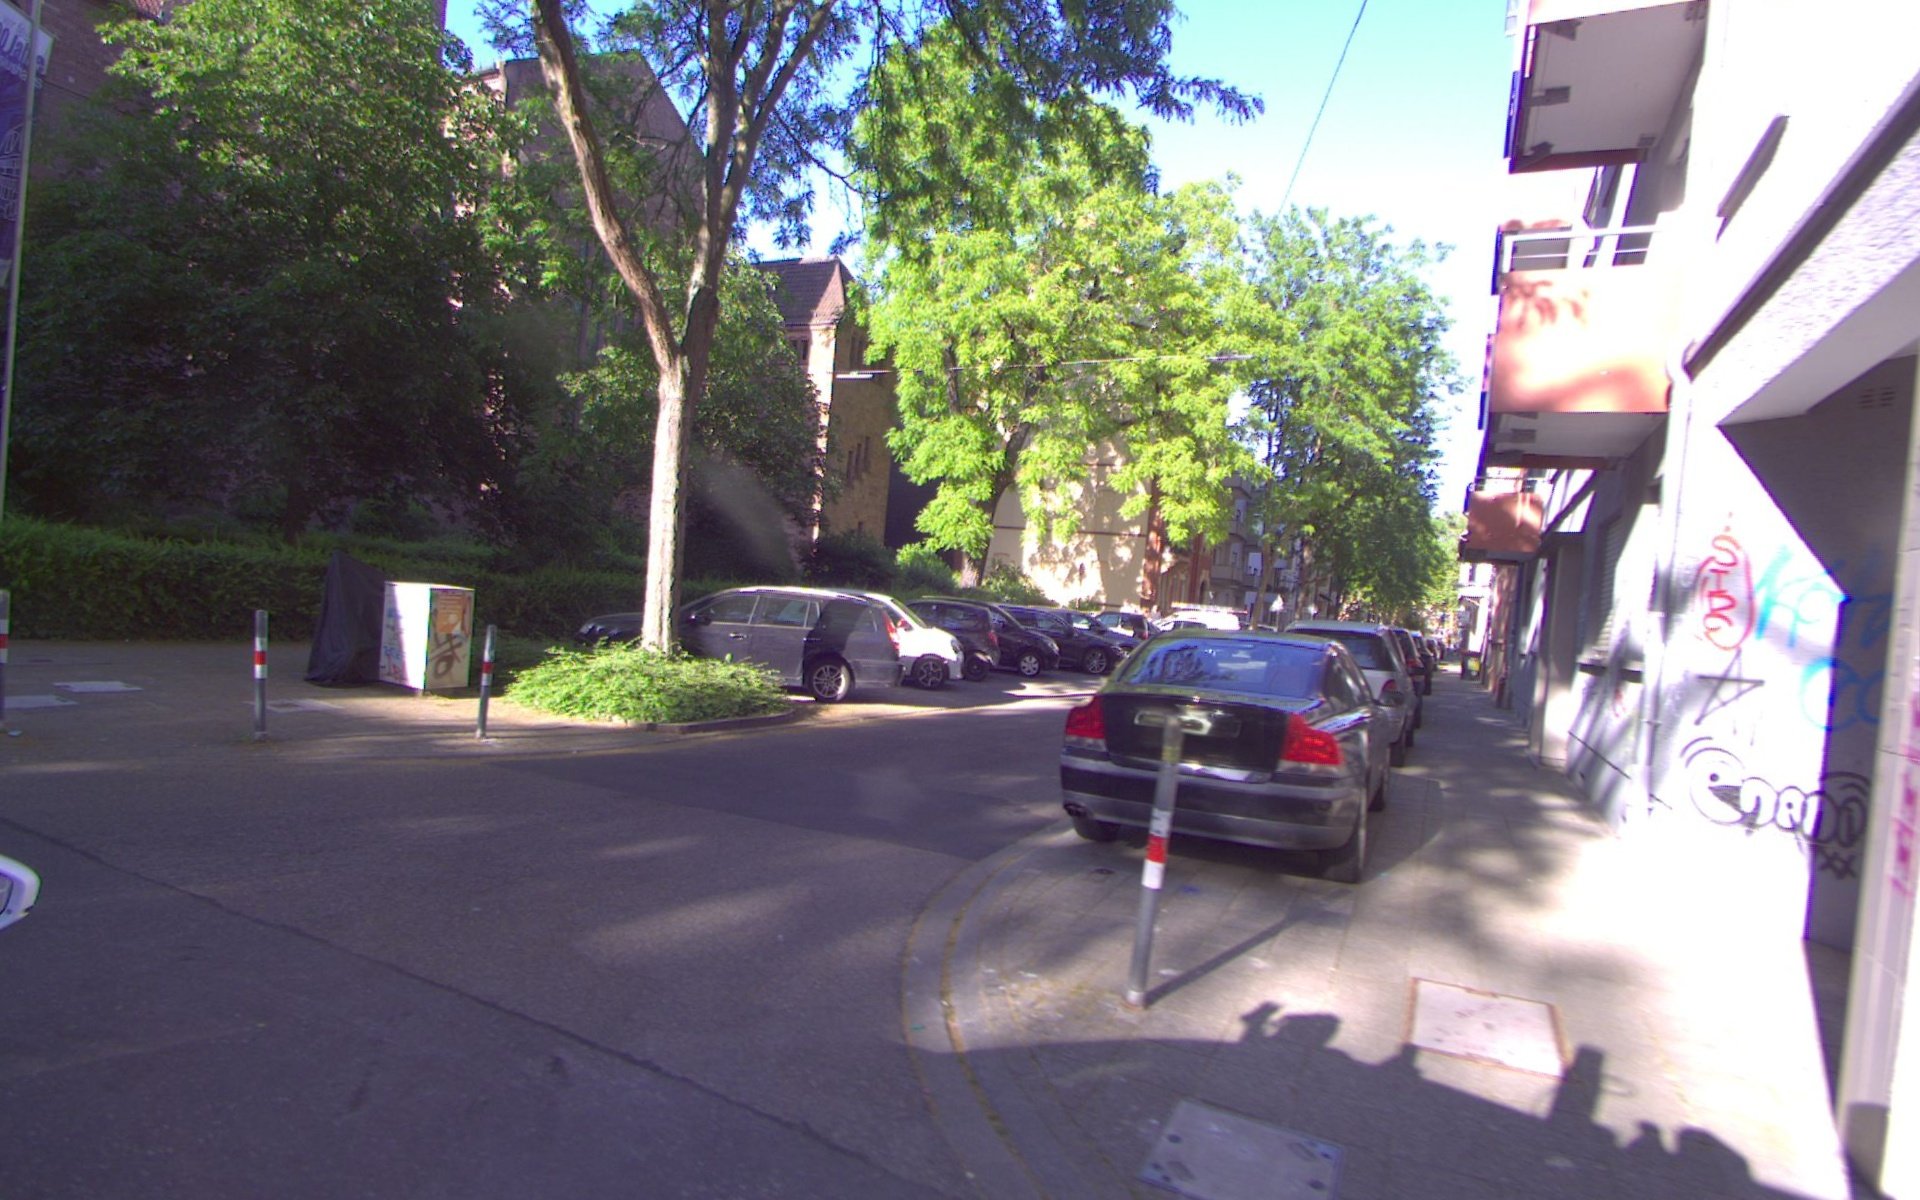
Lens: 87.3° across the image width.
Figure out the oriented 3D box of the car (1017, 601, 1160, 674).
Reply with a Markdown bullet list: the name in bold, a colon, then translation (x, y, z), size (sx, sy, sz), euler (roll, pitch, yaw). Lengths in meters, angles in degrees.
- **car**: translation (3.559, 1.006, 27.992), size (3.697, 1.639, 1.721), euler (5, 1, 8)

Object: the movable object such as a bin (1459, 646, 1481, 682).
- **movable object such as a bin**: translation (18.438, 2.312, 36.347), size (0.595, 1.226, 0.533), euler (6, 2, 27)

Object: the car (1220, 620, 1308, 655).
- **car**: translation (15.248, 1.877, 50.678), size (3.923, 1.313, 1.795), euler (5, 1, 8)

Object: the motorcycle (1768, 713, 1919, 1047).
- **motorcycle**: translation (4.261, 1.144, 3.532), size (0.731, 1.243, 2.151), euler (2, 0, -16)

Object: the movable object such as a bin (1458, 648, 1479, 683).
- **movable object such as a bin**: translation (18.854, 2.415, 37.296), size (0.595, 1.226, 0.533), euler (6, 2, 27)

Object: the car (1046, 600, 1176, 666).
- **car**: translation (4.598, 0.985, 30.794), size (3.697, 1.639, 1.721), euler (5, 1, 8)

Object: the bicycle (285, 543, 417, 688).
- **bicycle**: translation (-6.574, 0.114, 10.973), size (0.766, 1.389, 2.114), euler (4, 2, -20)

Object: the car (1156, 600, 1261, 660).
- **car**: translation (10.123, 1.189, 41.152), size (3.699, 2.065, 1.774), euler (5, 1, 1)

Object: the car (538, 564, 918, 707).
- **car**: translation (-3.218, 0.501, 14.655), size (5.011, 1.572, 1.801), euler (5, 1, -7)

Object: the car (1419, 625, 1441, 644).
- **car**: translation (47.695, 3.498, 102.052), size (1.797, 1.746, 4.041), euler (5, 0, 26)

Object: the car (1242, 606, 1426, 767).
- **car**: translation (4.918, 1.000, 12.936), size (1.837, 1.638, 3.995), euler (3, -1, 25)

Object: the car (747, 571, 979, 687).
- **car**: translation (-1.663, 0.494, 17.947), size (3.697, 1.639, 1.721), euler (5, 1, 8)

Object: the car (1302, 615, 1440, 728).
- **car**: translation (7.245, 1.174, 17.701), size (1.964, 1.682, 3.996), euler (2, -1, 23)

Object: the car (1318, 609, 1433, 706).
- **car**: translation (9.090, 1.213, 21.995), size (1.964, 1.750, 3.996), euler (6, 0, 23)

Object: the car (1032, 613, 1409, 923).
- **car**: translation (2.202, 0.914, 7.373), size (1.817, 1.406, 4.356), euler (5, 0, 25)

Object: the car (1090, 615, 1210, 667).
- **car**: translation (6.181, 1.327, 33.014), size (3.697, 1.299, 1.586), euler (5, 1, 8)

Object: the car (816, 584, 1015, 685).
- **car**: translation (-0.859, 0.665, 20.568), size (3.697, 1.639, 1.721), euler (5, 1, 8)

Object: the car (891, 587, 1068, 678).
- **car**: translation (0.485, 0.699, 22.695), size (3.697, 1.639, 1.721), euler (5, 1, 8)

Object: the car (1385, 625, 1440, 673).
- **car**: translation (19.896, 2.118, 44.271), size (1.964, 1.831, 4.514), euler (5, 0, 24)

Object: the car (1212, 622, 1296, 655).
- **car**: translation (15.453, 1.988, 52.996), size (3.923, 1.313, 1.795), euler (5, 1, 8)

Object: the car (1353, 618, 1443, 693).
- **car**: translation (12.025, 1.476, 27.674), size (1.964, 1.719, 3.996), euler (6, 0, 23)

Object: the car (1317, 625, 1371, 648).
- **car**: translation (36.132, 3.433, 94.722), size (4.434, 1.650, 1.996), euler (5, 1, 27)

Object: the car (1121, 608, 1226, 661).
- **car**: translation (8.074, 1.275, 38.329), size (3.697, 1.639, 1.586), euler (5, 1, 8)

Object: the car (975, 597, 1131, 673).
- **car**: translation (2.304, 0.846, 25.413), size (3.698, 1.540, 1.721), euler (5, 1, 3)
